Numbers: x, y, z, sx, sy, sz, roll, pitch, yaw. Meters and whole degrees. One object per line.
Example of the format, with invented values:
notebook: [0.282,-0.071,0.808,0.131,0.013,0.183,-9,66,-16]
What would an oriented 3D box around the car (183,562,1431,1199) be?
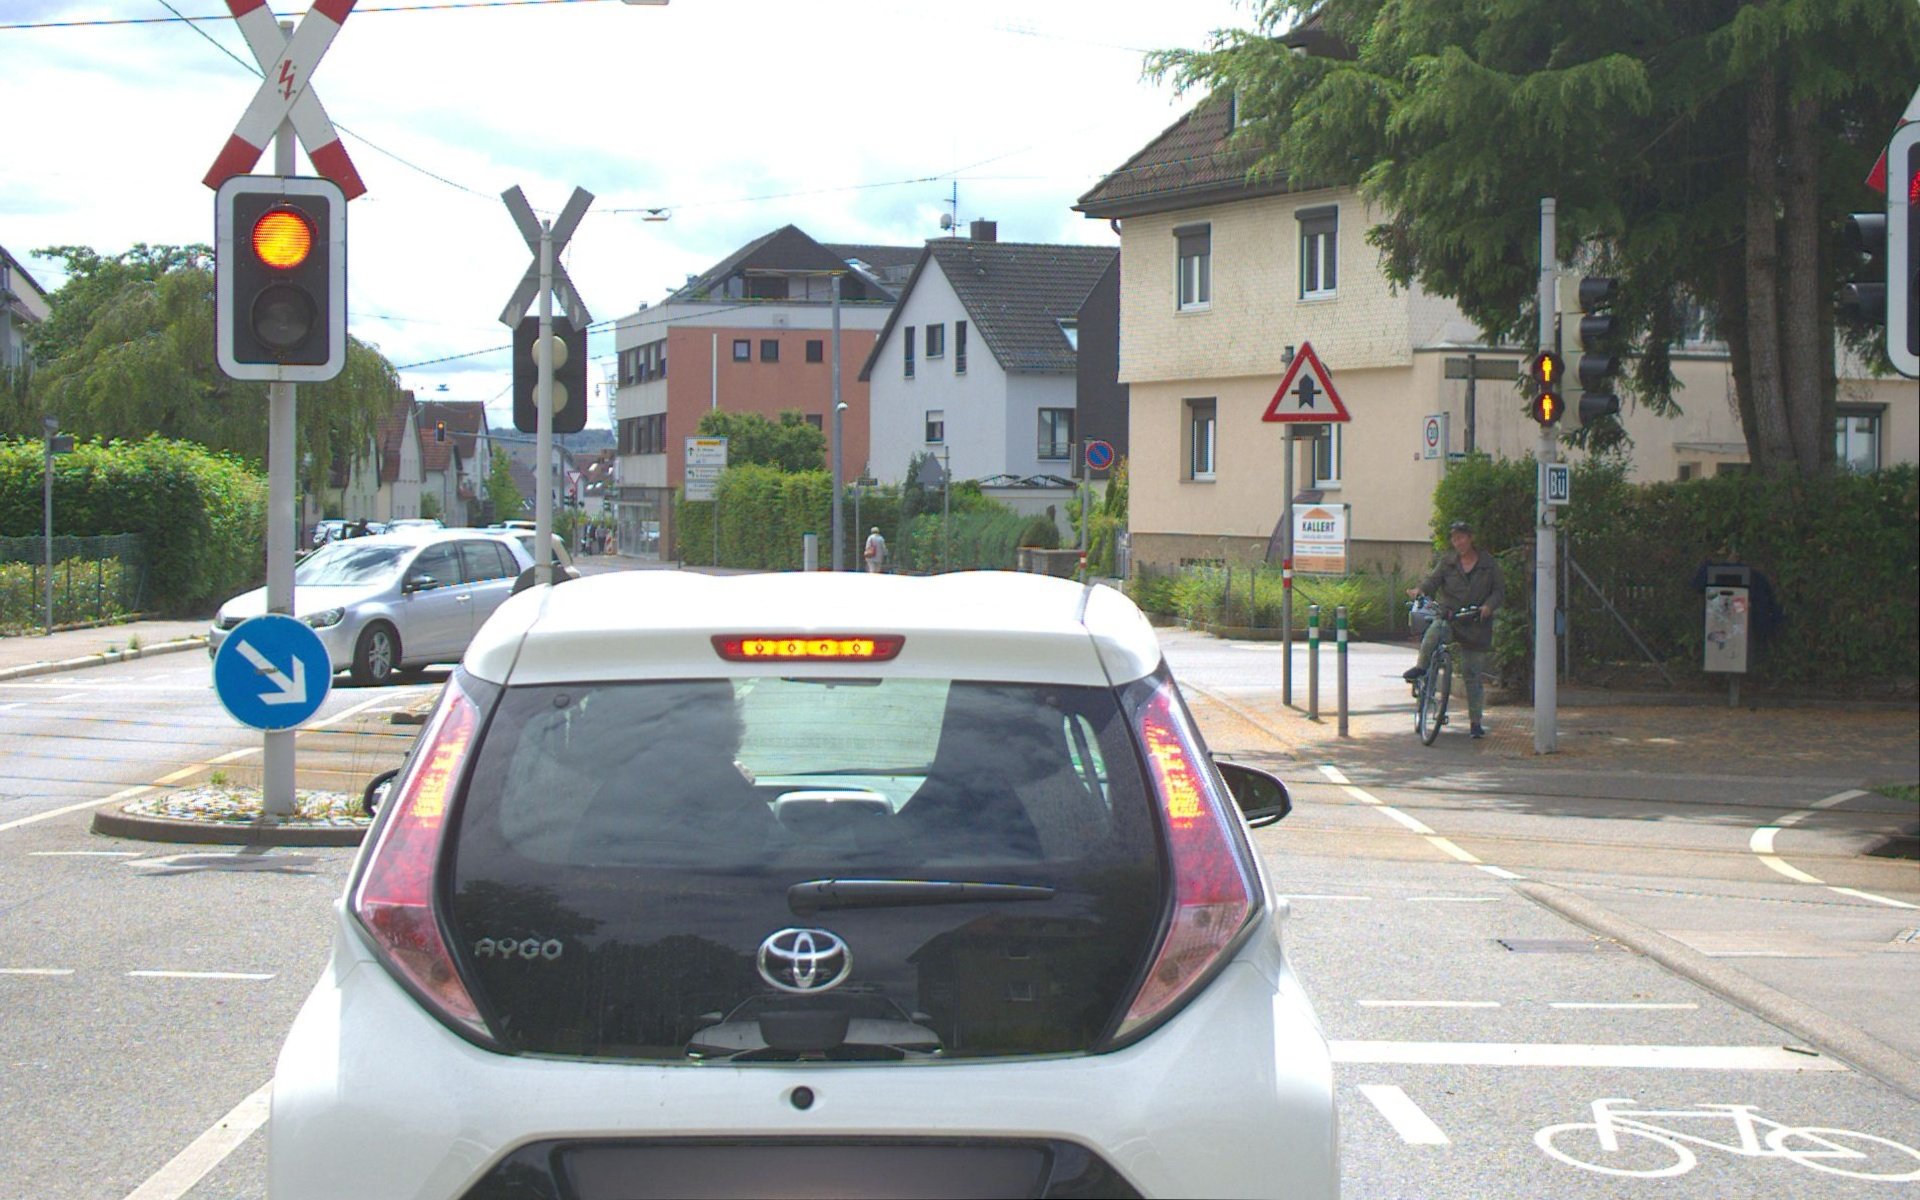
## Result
car: [-0.334,0.670,6.627,1.721,1.437,3.709,1,1,-4]

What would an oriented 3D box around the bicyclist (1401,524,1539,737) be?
bicyclist: [3.879,0.221,26.203,0.840,1.548,0.756,-2,3,-6]

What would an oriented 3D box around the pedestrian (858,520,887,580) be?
pedestrian: [-2.368,-1.349,92.773,0.726,1.571,0.803,2,1,0]

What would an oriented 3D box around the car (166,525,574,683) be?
car: [-5.847,0.022,34.544,1.908,1.436,4.092,2,1,28]

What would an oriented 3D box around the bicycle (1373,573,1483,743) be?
bicycle: [3.552,0.424,26.169,0.457,1.168,1.480,-2,4,-6]
